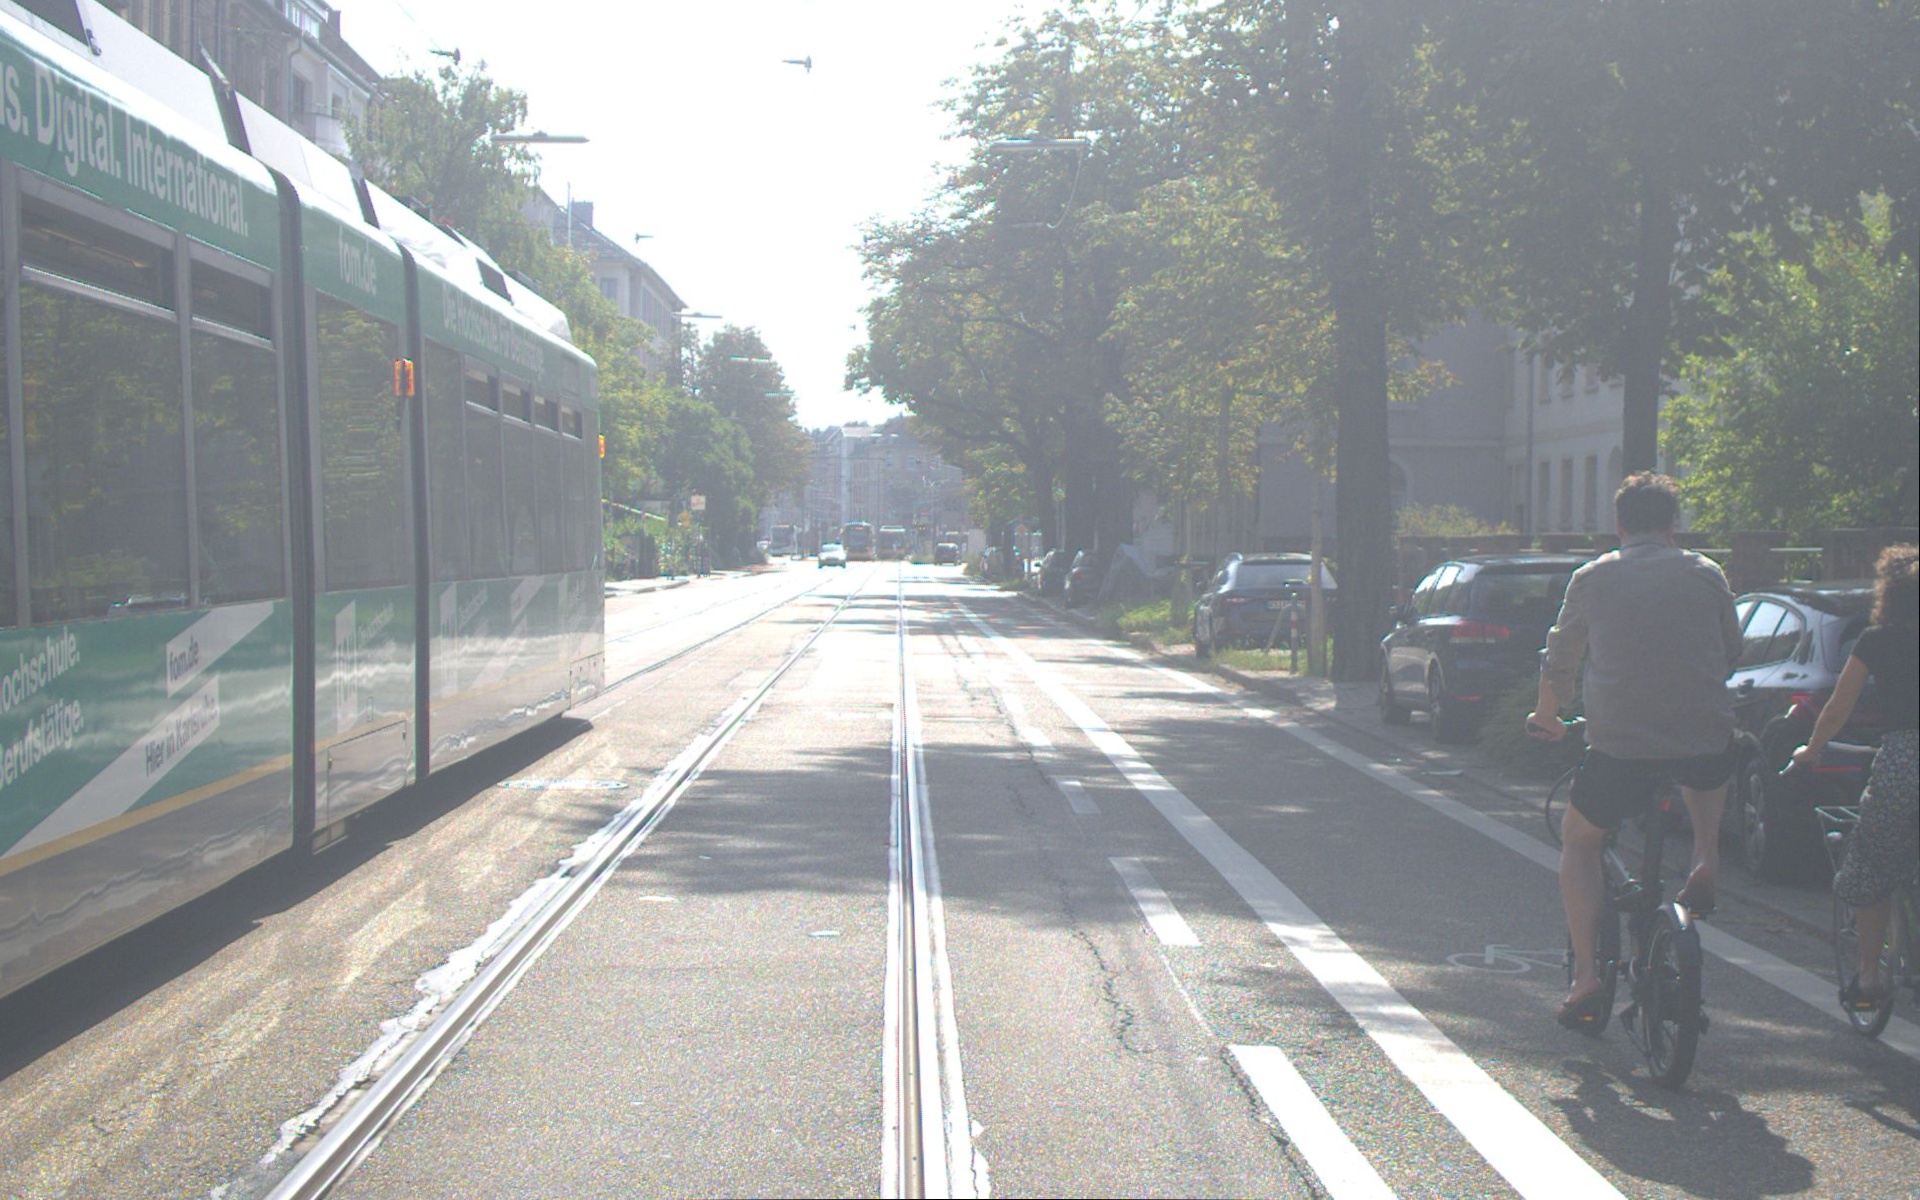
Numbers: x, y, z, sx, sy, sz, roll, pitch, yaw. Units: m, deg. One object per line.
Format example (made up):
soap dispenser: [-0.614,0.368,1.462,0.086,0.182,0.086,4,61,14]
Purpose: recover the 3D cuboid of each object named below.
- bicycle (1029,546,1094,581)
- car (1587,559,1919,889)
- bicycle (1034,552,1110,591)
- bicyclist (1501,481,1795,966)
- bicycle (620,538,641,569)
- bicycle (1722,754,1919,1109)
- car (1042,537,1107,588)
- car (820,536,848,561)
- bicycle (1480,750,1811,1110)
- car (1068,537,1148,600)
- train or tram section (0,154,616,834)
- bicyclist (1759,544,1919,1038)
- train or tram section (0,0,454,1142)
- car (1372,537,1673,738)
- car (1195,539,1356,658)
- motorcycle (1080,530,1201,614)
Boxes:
bicycle: [3.338,-1.204,113.148,2.106,1.101,0.616,-1,1,-2]
car: [4.629,0.552,18.183,1.689,1.430,4.337,-2,1,-1]
bicycle: [3.214,-0.813,98.983,2.106,1.101,0.563,1,1,-8]
bicyclist: [2.084,0.354,10.518,0.626,1.396,0.929,3,1,-2]
bicycle: [-12.796,-1.815,133.610,0.561,1.217,2.114,1,1,1]
bicycle: [2.960,1.007,10.784,0.654,0.906,1.775,3,1,-2]
car: [3.402,-1.105,102.669,1.772,1.468,3.974,0,0,-1]
car: [-8.260,-3.363,224.927,1.726,1.632,3.985,1,1,-1]
bicycle: [2.061,0.970,10.518,0.626,0.906,1.525,3,1,-2]
car: [3.658,-0.792,85.646,1.726,1.499,3.985,-1,1,-1]
train or tram section: [-4.137,-0.665,23.289,2.734,3.493,10.777,1,1,-1]
bicyclist: [2.978,0.575,10.762,0.654,1.469,0.909,3,1,-2]
train or tram section: [-3.895,-0.459,12.502,2.734,3.493,10.777,1,1,-1]
car: [4.566,0.256,28.436,1.689,1.497,4.096,-1,1,-1]
car: [4.267,-0.060,47.136,1.743,1.555,4.719,0,1,0]
motorcycle: [3.655,-0.572,69.815,2.418,1.668,0.911,0,2,44]
